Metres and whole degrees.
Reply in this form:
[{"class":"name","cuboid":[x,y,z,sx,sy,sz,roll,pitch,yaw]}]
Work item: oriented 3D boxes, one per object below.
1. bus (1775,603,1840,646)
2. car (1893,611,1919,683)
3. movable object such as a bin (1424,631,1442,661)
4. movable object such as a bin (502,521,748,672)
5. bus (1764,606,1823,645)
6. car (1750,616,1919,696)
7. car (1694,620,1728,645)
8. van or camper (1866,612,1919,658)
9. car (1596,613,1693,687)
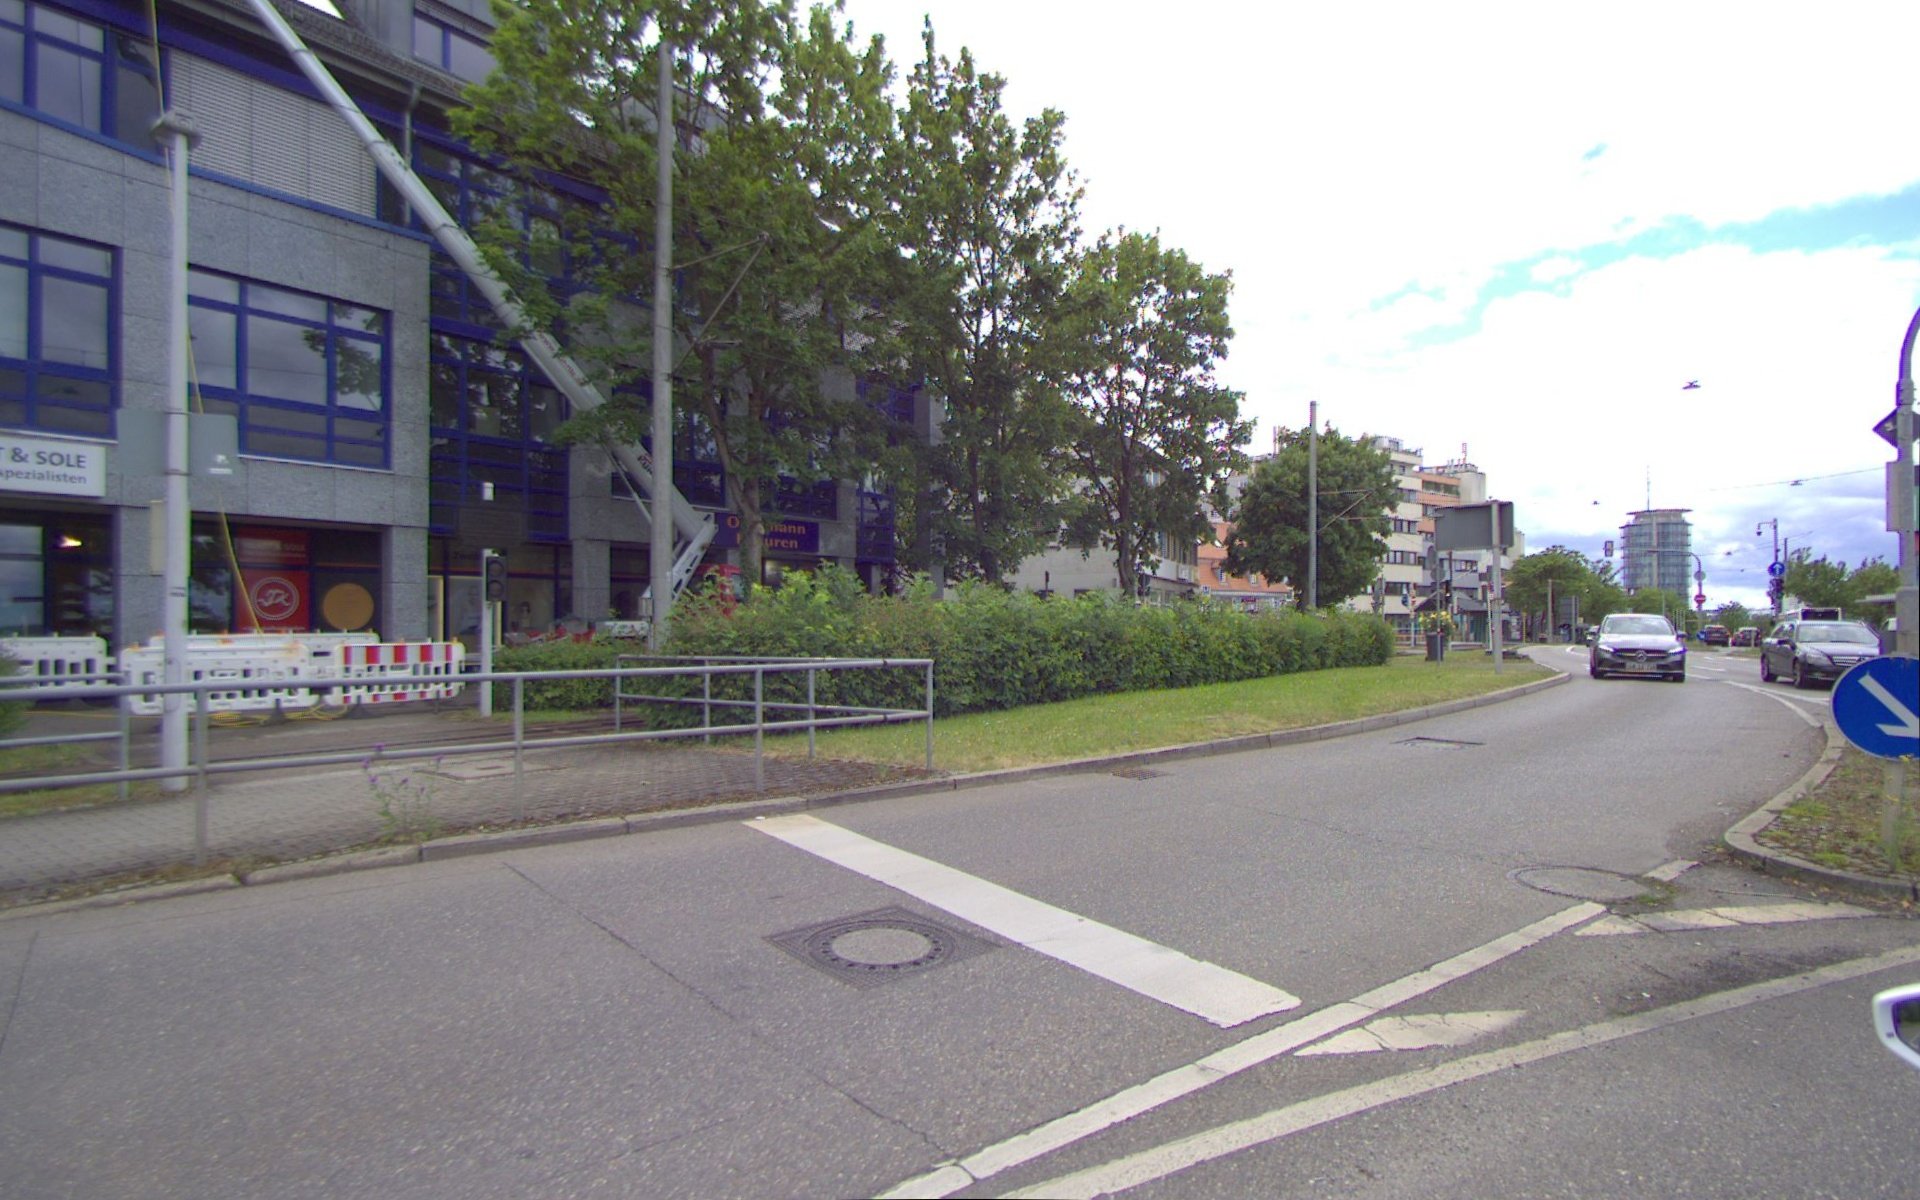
[{"class":"bus","cuboid":[66.259,1.994,78.694,2.927,3.157,9.215,-2,-3,35]},{"class":"car","cuboid":[21.625,1.054,20.985,1.859,1.585,4.391,1,0,25]},{"class":"movable object such as a bin","cuboid":[16.965,1.647,36.004,0.555,1.026,0.837,0,-1,28]},{"class":"movable object such as a bin","cuboid":[-6.287,-0.091,19.246,1.881,2.565,4.111,3,2,37]},{"class":"bus","cuboid":[71.644,2.248,86.497,2.913,3.152,9.945,-2,-3,35]},{"class":"car","cuboid":[18.680,1.108,21.653,1.756,1.445,4.390,1,0,27]},{"class":"car","cuboid":[59.779,2.570,80.023,1.876,1.884,4.696,1,0,33]},{"class":"van or camper","cuboid":[42.585,1.536,44.895,1.963,1.943,4.404,0,0,26]},{"class":"car","cuboid":[16.386,1.117,24.131,1.758,1.558,4.383,1,0,34]}]
